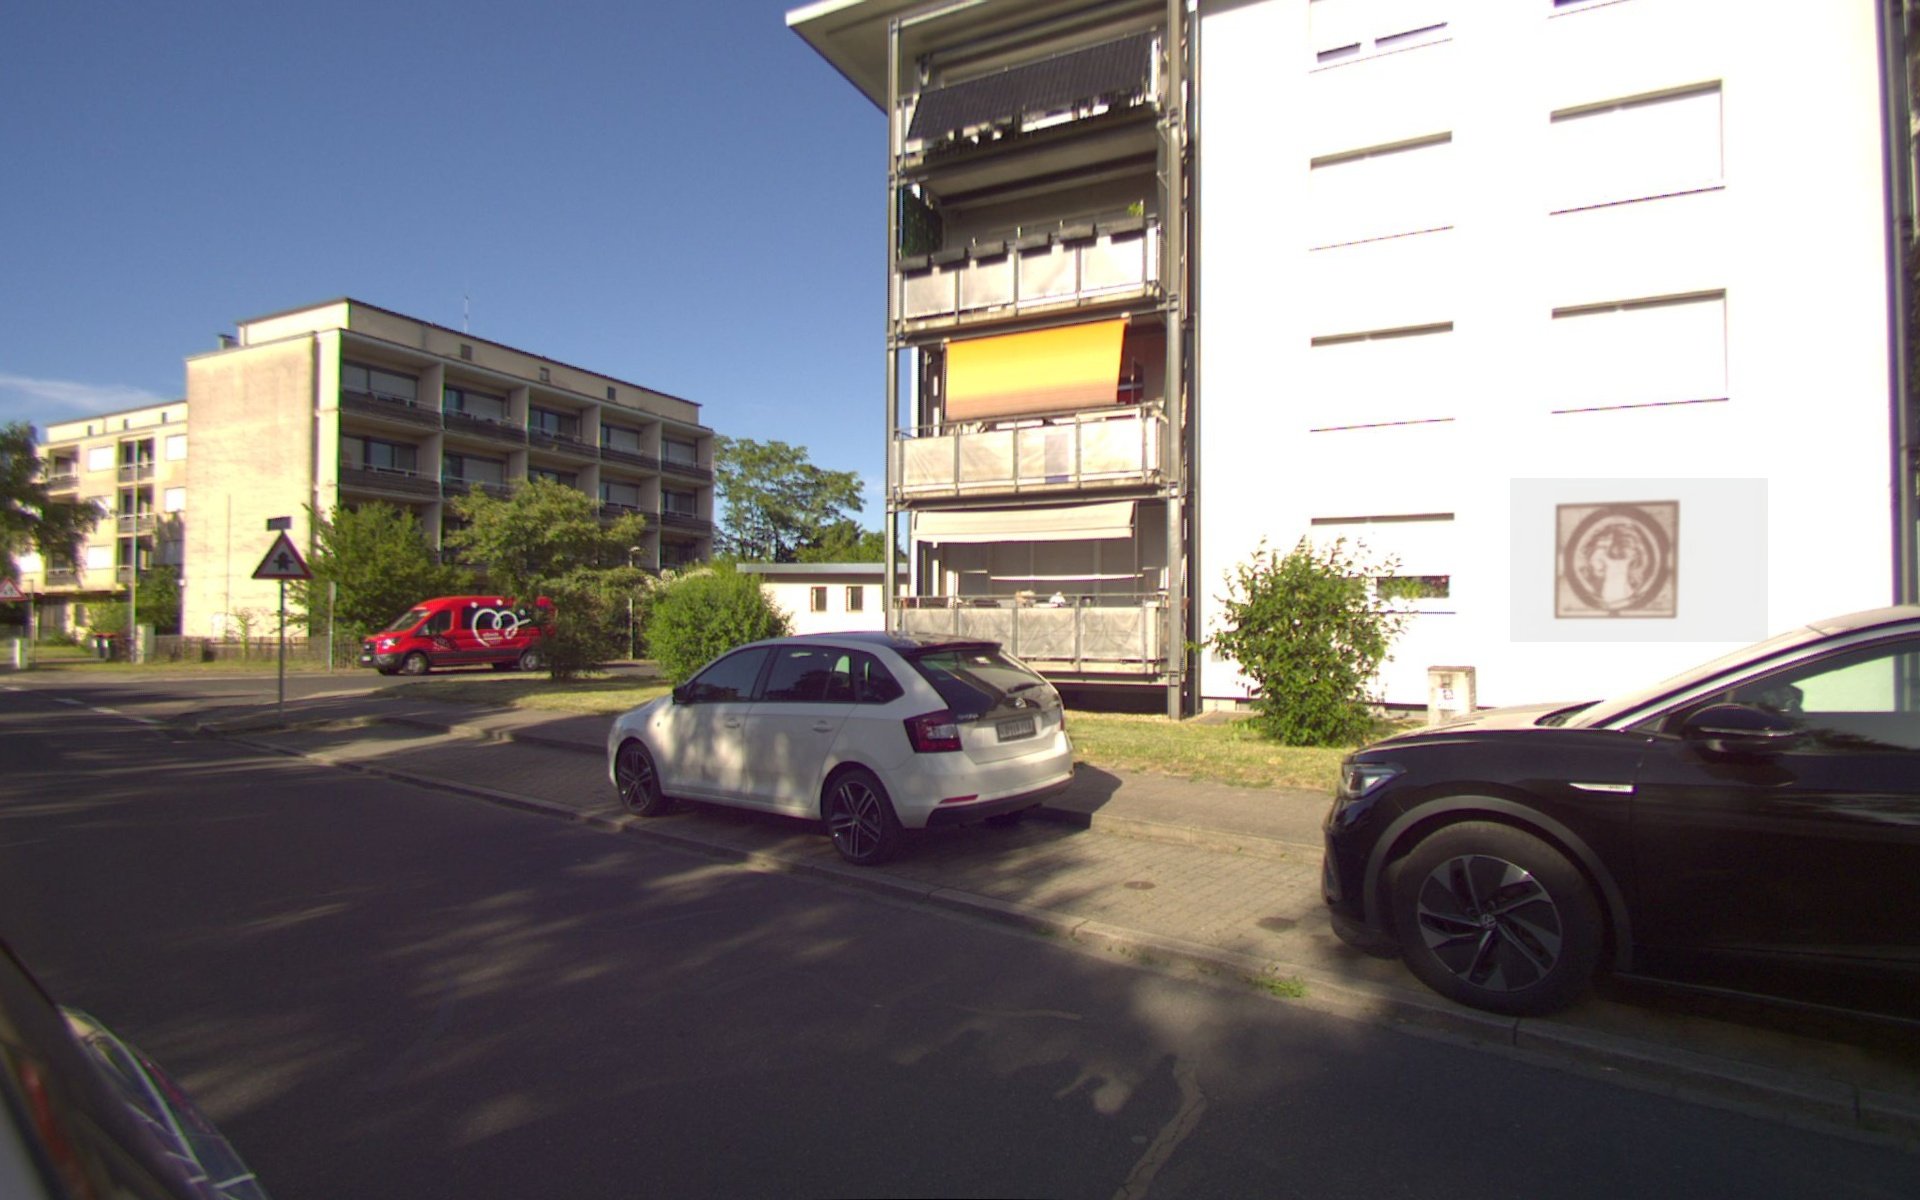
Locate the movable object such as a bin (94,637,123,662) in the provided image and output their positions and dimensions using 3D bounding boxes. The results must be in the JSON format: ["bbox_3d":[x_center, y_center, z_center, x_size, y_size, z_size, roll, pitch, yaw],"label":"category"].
[{"bbox_3d":[-35.799,2.080,42.534,0.696,1.056,0.625,0,-2,14],"label":"movable object such as a bin"}]

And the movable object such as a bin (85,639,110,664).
[{"bbox_3d":[-36.409,2.160,42.721,0.552,1.061,0.562,0,-2,15],"label":"movable object such as a bin"}]

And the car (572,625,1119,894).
[{"bbox_3d":[-1.089,0.953,7.671,4.328,1.478,1.629,-2,-2,41],"label":"car"}]

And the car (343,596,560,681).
[{"bbox_3d":[-16.095,1.286,32.397,2.209,2.447,5.849,-3,-4,37],"label":"car"}]

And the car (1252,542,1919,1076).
[{"bbox_3d":[3.724,0.656,3.639,4.807,1.616,1.895,-1,-3,39],"label":"car"}]
